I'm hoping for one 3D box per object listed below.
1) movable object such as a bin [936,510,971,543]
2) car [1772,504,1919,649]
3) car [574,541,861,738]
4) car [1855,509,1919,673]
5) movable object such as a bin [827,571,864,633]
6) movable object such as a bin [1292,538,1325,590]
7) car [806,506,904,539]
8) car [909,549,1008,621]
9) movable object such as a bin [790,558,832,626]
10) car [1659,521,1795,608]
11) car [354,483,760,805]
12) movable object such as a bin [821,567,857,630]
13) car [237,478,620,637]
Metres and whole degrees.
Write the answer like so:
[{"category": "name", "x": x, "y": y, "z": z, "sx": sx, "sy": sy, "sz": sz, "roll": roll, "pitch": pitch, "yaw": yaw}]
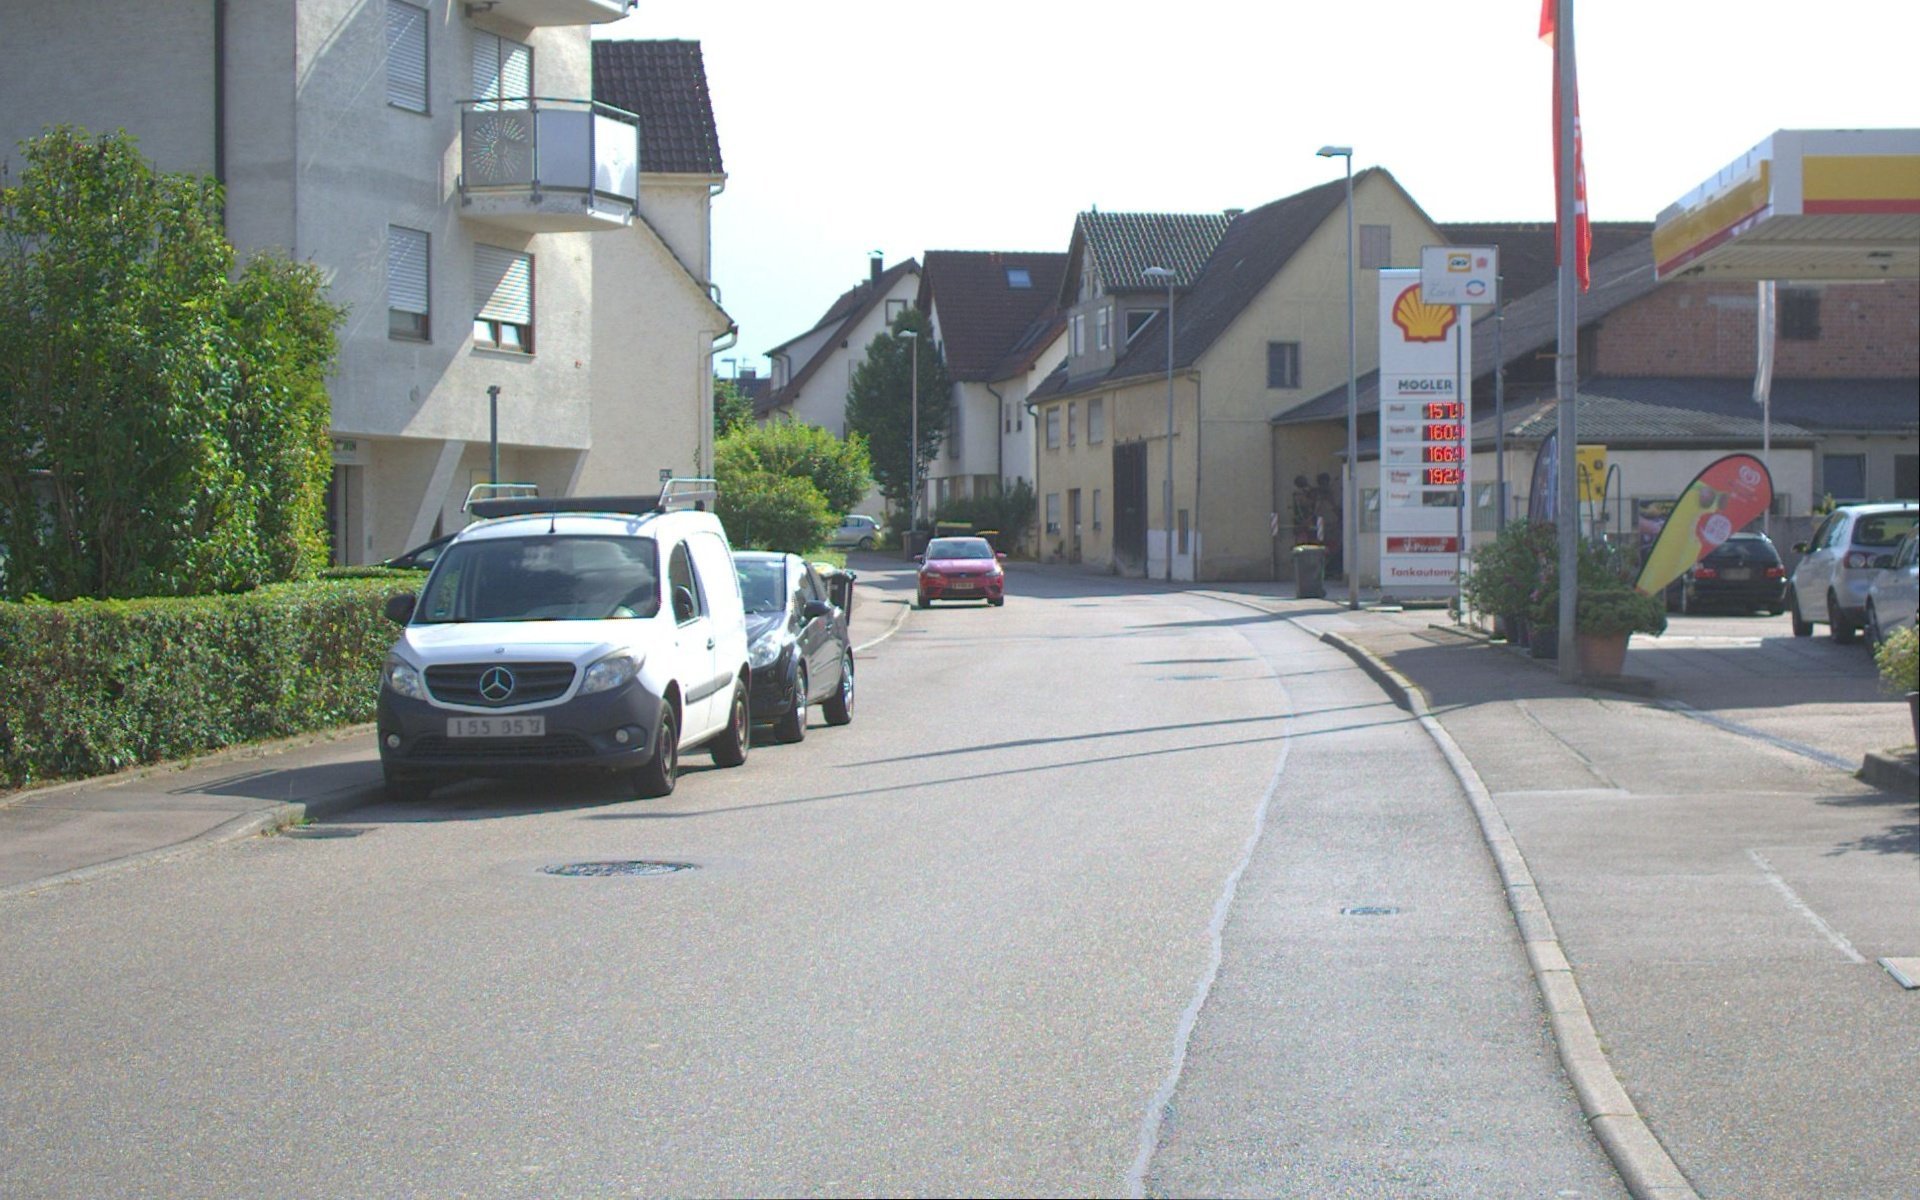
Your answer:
[{"category": "movable object such as a bin", "x": -0.227, "y": -2.605, "z": 121.294, "sx": 1.160, "sy": 1.164, "sz": 0.655, "roll": 0, "pitch": 1, "yaw": -7}, {"category": "car", "x": 10.602, "y": -0.313, "z": 39.931, "sx": 1.672, "sy": 1.572, "sz": 3.998, "roll": -1, "pitch": 2, "yaw": 4}, {"category": "car", "x": -1.880, "y": 0.263, "z": 27.747, "sx": 1.673, "sy": 1.446, "sz": 3.834, "roll": -1, "pitch": 1, "yaw": 6}, {"category": "car", "x": 10.234, "y": -0.124, "z": 34.630, "sx": 1.672, "sy": 1.572, "sz": 3.998, "roll": -1, "pitch": 2, "yaw": 4}, {"category": "movable object such as a bin", "x": -1.919, "y": 0.029, "z": 57.686, "sx": 0.531, "sy": 1.019, "sz": 0.457, "roll": -2, "pitch": 1, "yaw": 4}, {"category": "movable object such as a bin", "x": 7.272, "y": -0.757, "z": 71.770, "sx": 0.653, "sy": 1.069, "sz": 0.513, "roll": 0, "pitch": 1, "yaw": 2}, {"category": "car", "x": -4.351, "y": -3.216, "z": 142.269, "sx": 3.986, "sy": 1.348, "sz": 1.711, "roll": 0, "pitch": 1, "yaw": -4}, {"category": "car", "x": -0.055, "y": -0.332, "z": 72.144, "sx": 1.708, "sy": 1.430, "sz": 3.781, "roll": -2, "pitch": 1, "yaw": -5}, {"category": "movable object such as a bin", "x": -2.399, "y": -0.131, "z": 55.322, "sx": 0.588, "sy": 1.080, "sz": 0.508, "roll": -2, "pitch": 1, "yaw": 4}, {"category": "car", "x": 13.338, "y": -0.645, "z": 59.979, "sx": 1.578, "sy": 1.422, "sz": 4.381, "roll": 1, "pitch": 2, "yaw": 3}, {"category": "car", "x": -2.496, "y": 0.218, "z": 22.300, "sx": 1.717, "sy": 1.866, "sz": 4.191, "roll": -1, "pitch": 1, "yaw": 6}, {"category": "movable object such as a bin", "x": -2.003, "y": -0.034, "z": 57.014, "sx": 0.531, "sy": 1.019, "sz": 0.457, "roll": -2, "pitch": 1, "yaw": 4}, {"category": "car", "x": -6.229, "y": -0.521, "z": 40.363, "sx": 3.990, "sy": 1.533, "sz": 1.761, "roll": 5, "pitch": 3, "yaw": 16}]
